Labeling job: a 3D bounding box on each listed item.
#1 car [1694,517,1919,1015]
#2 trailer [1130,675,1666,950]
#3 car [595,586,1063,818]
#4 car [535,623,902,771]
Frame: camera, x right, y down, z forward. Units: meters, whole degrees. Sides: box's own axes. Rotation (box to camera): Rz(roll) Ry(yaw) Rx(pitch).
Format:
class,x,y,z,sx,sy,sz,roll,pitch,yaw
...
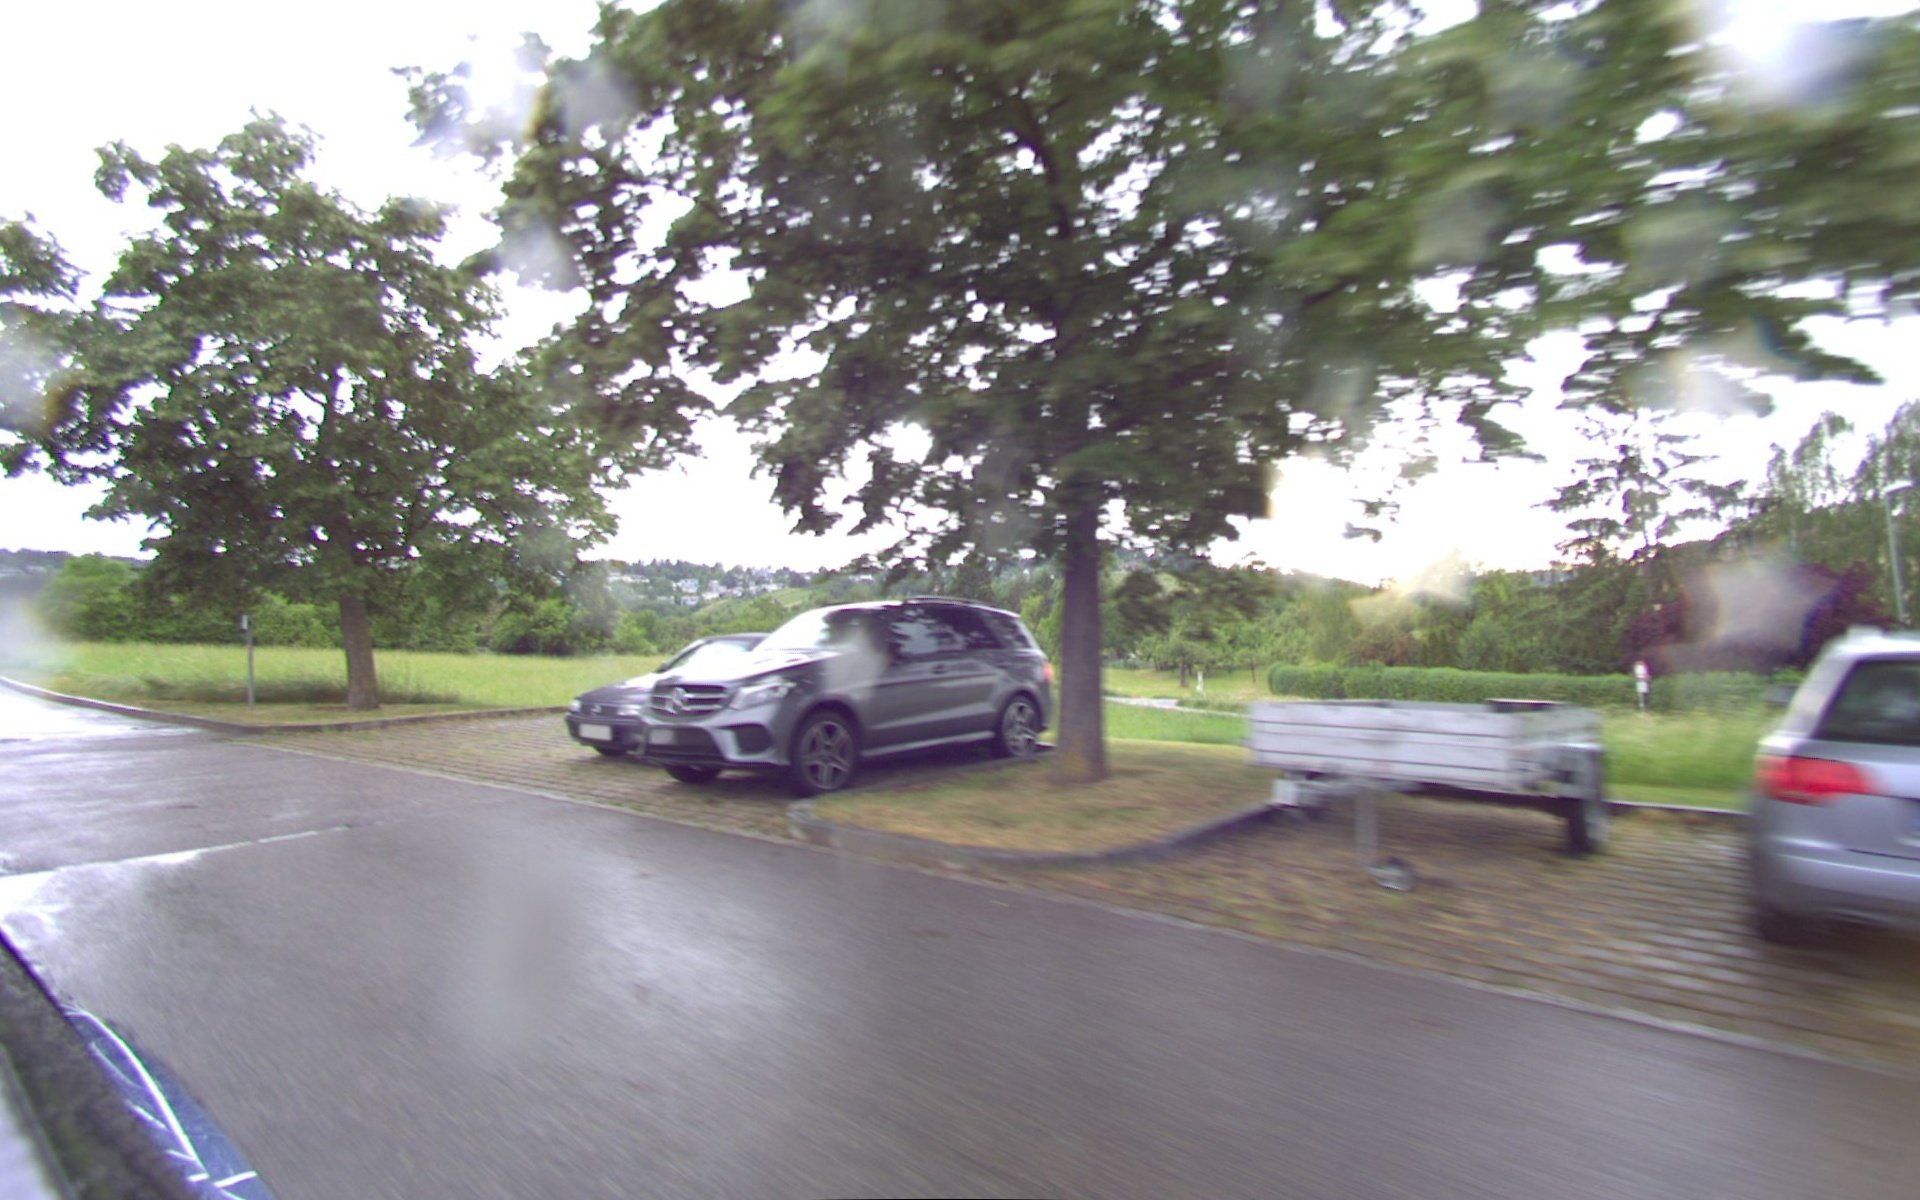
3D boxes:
class,x,y,z,sx,sy,sz,roll,pitch,yaw
car,5.024,0.578,4.705,2.026,1.735,4.028,-1,-1,44
trailer,2.965,1.043,6.369,1.999,0.968,3.900,-2,-3,41
car,-1.039,0.861,9.916,2.043,1.735,4.324,-1,-3,39
car,-2.692,1.015,12.180,1.770,1.442,4.175,-1,-2,35
